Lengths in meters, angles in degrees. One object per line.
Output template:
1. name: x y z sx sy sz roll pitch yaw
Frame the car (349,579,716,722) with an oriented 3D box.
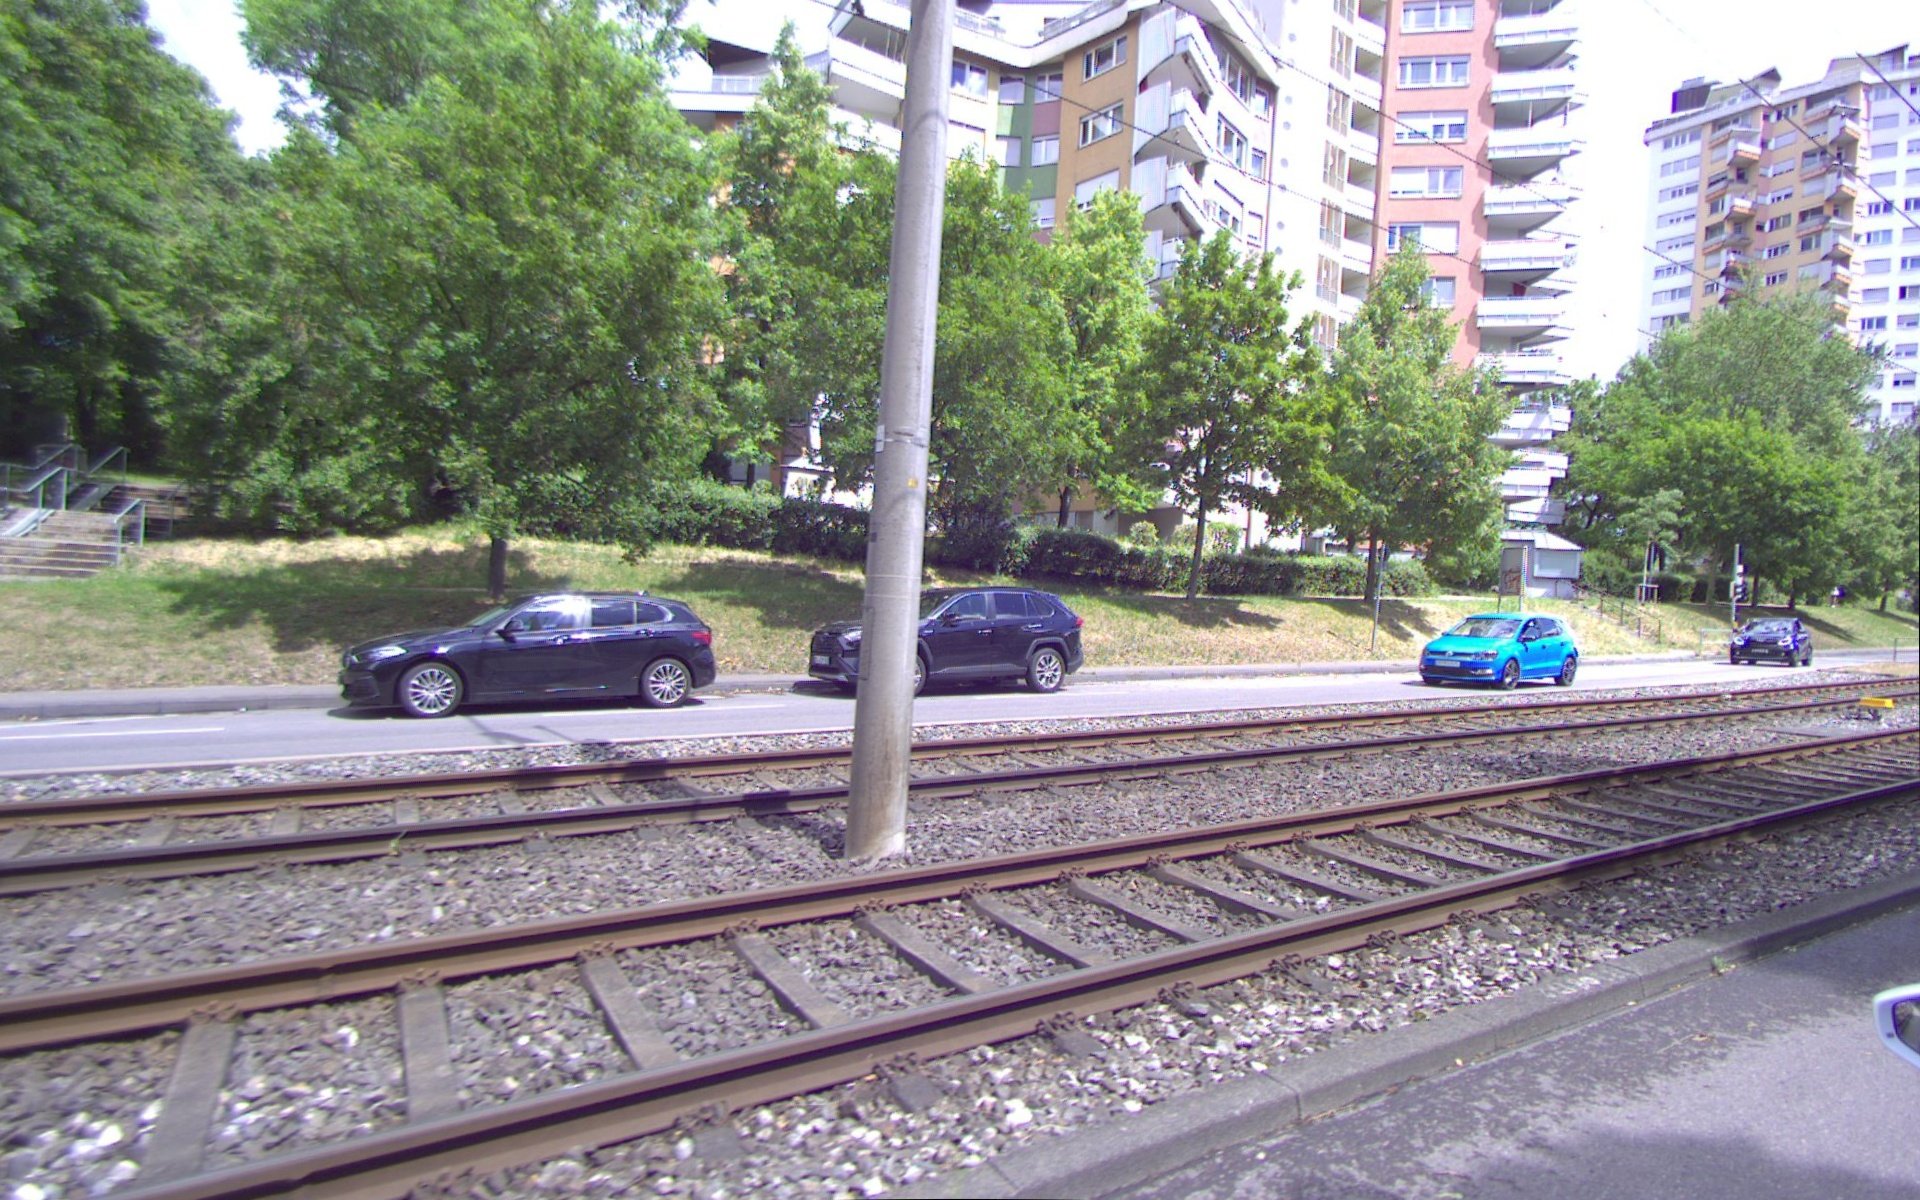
1. car: -5.259 0.560 12.493 3.954 1.518 1.764 1 0 -33

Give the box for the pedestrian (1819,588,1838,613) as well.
1. pedestrian: 55.221 0.017 63.867 0.623 1.555 0.634 1 0 -13

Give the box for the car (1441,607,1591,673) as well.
1. car: 14.198 0.986 25.583 4.204 1.552 1.769 1 -1 -36

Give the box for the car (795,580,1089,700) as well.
1. car: -0.216 0.614 15.742 4.336 1.651 1.764 2 -1 -33

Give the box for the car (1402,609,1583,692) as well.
1. car: 10.709 0.958 20.120 3.906 1.461 1.703 1 0 -37

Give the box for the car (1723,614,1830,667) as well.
1. car: 26.302 1.283 32.322 3.660 1.585 1.705 1 0 -35
